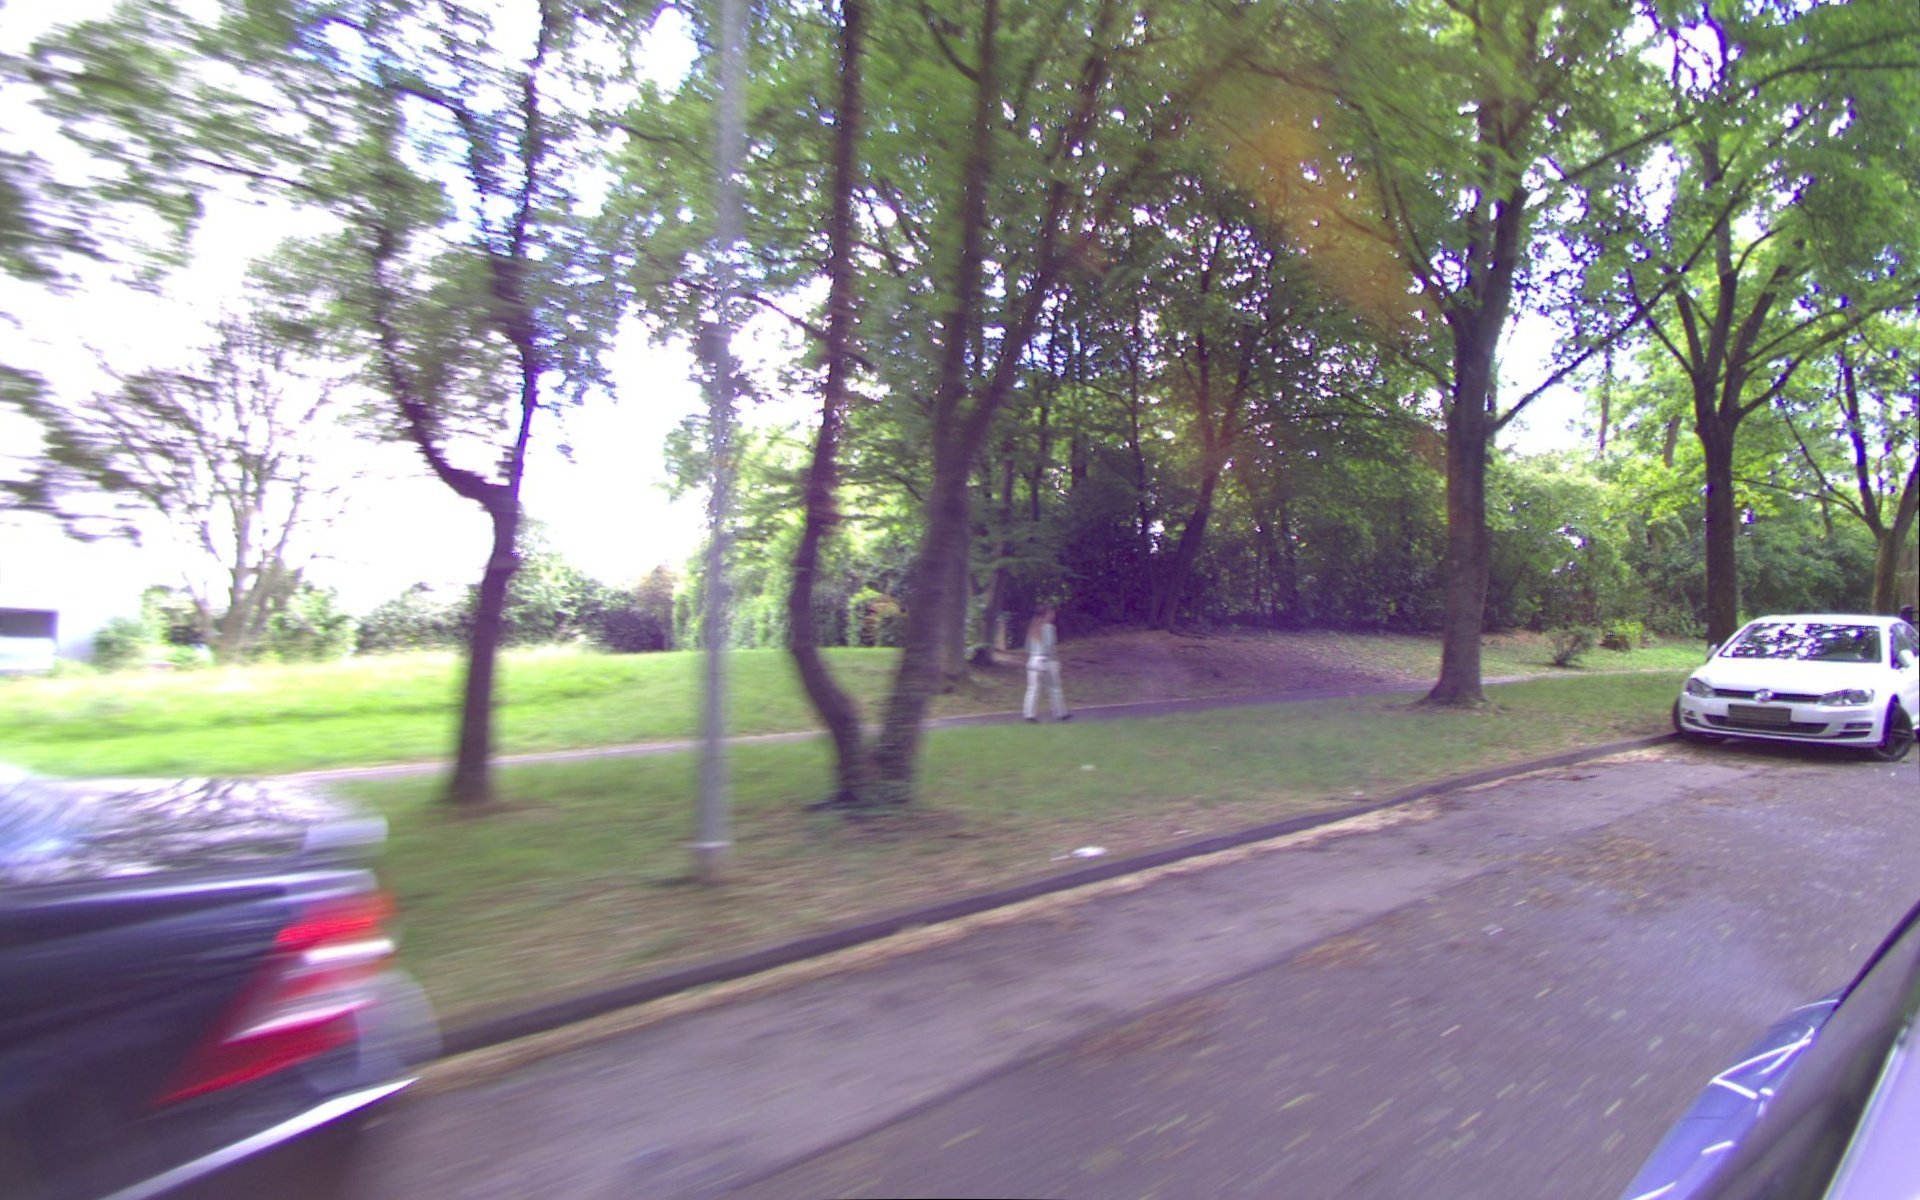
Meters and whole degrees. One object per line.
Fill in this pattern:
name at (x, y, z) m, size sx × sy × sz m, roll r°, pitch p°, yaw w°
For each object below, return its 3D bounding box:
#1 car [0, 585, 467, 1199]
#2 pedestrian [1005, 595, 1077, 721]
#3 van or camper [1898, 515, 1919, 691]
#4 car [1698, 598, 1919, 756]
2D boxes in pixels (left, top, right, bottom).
car at (-2.906, 0.717, 0.774) m, size 1.590 × 1.484 × 4.246 m, roll 3°, pitch 1°, yaw 44°
pedestrian at (1.121, 0.776, 13.980) m, size 0.580 × 1.673 × 0.859 m, roll -2°, pitch -2°, yaw 42°
van or camper at (19.983, 0.049, 18.380) m, size 7.247 × 3.018 × 2.433 m, roll 0°, pitch -2°, yaw -32°
car at (10.104, 0.759, 11.539) m, size 4.032 × 1.502 × 1.692 m, roll 1°, pitch -2°, yaw -39°
